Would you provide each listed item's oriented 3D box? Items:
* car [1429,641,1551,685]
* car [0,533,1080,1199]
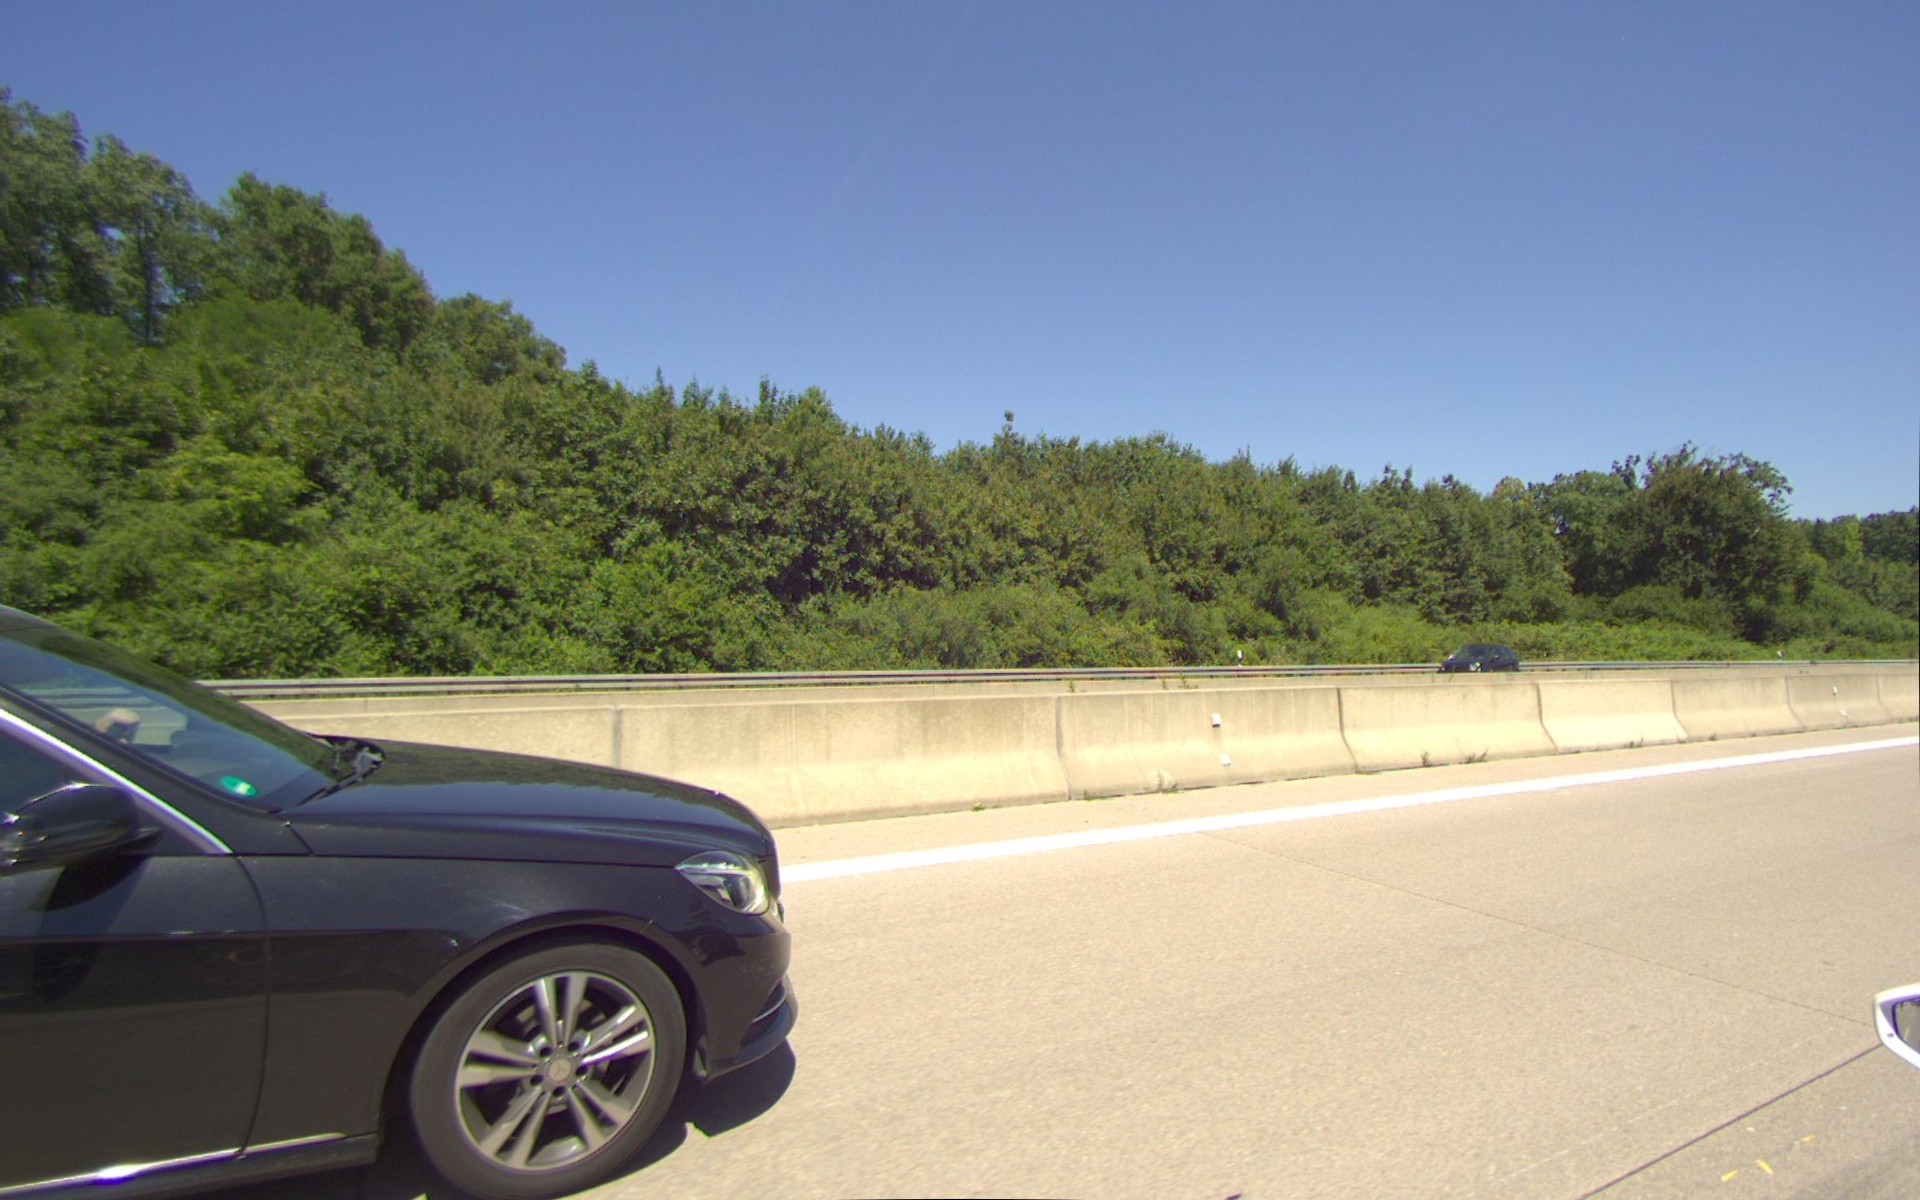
[{"bbox_3d":[18.271,2.132,34.593,3.953,1.394,1.919,2,-2,-30],"label":"car"},{"bbox_3d":[-2.460,0.631,2.607,5.538,1.493,1.882,1,-1,-31],"label":"car"}]
